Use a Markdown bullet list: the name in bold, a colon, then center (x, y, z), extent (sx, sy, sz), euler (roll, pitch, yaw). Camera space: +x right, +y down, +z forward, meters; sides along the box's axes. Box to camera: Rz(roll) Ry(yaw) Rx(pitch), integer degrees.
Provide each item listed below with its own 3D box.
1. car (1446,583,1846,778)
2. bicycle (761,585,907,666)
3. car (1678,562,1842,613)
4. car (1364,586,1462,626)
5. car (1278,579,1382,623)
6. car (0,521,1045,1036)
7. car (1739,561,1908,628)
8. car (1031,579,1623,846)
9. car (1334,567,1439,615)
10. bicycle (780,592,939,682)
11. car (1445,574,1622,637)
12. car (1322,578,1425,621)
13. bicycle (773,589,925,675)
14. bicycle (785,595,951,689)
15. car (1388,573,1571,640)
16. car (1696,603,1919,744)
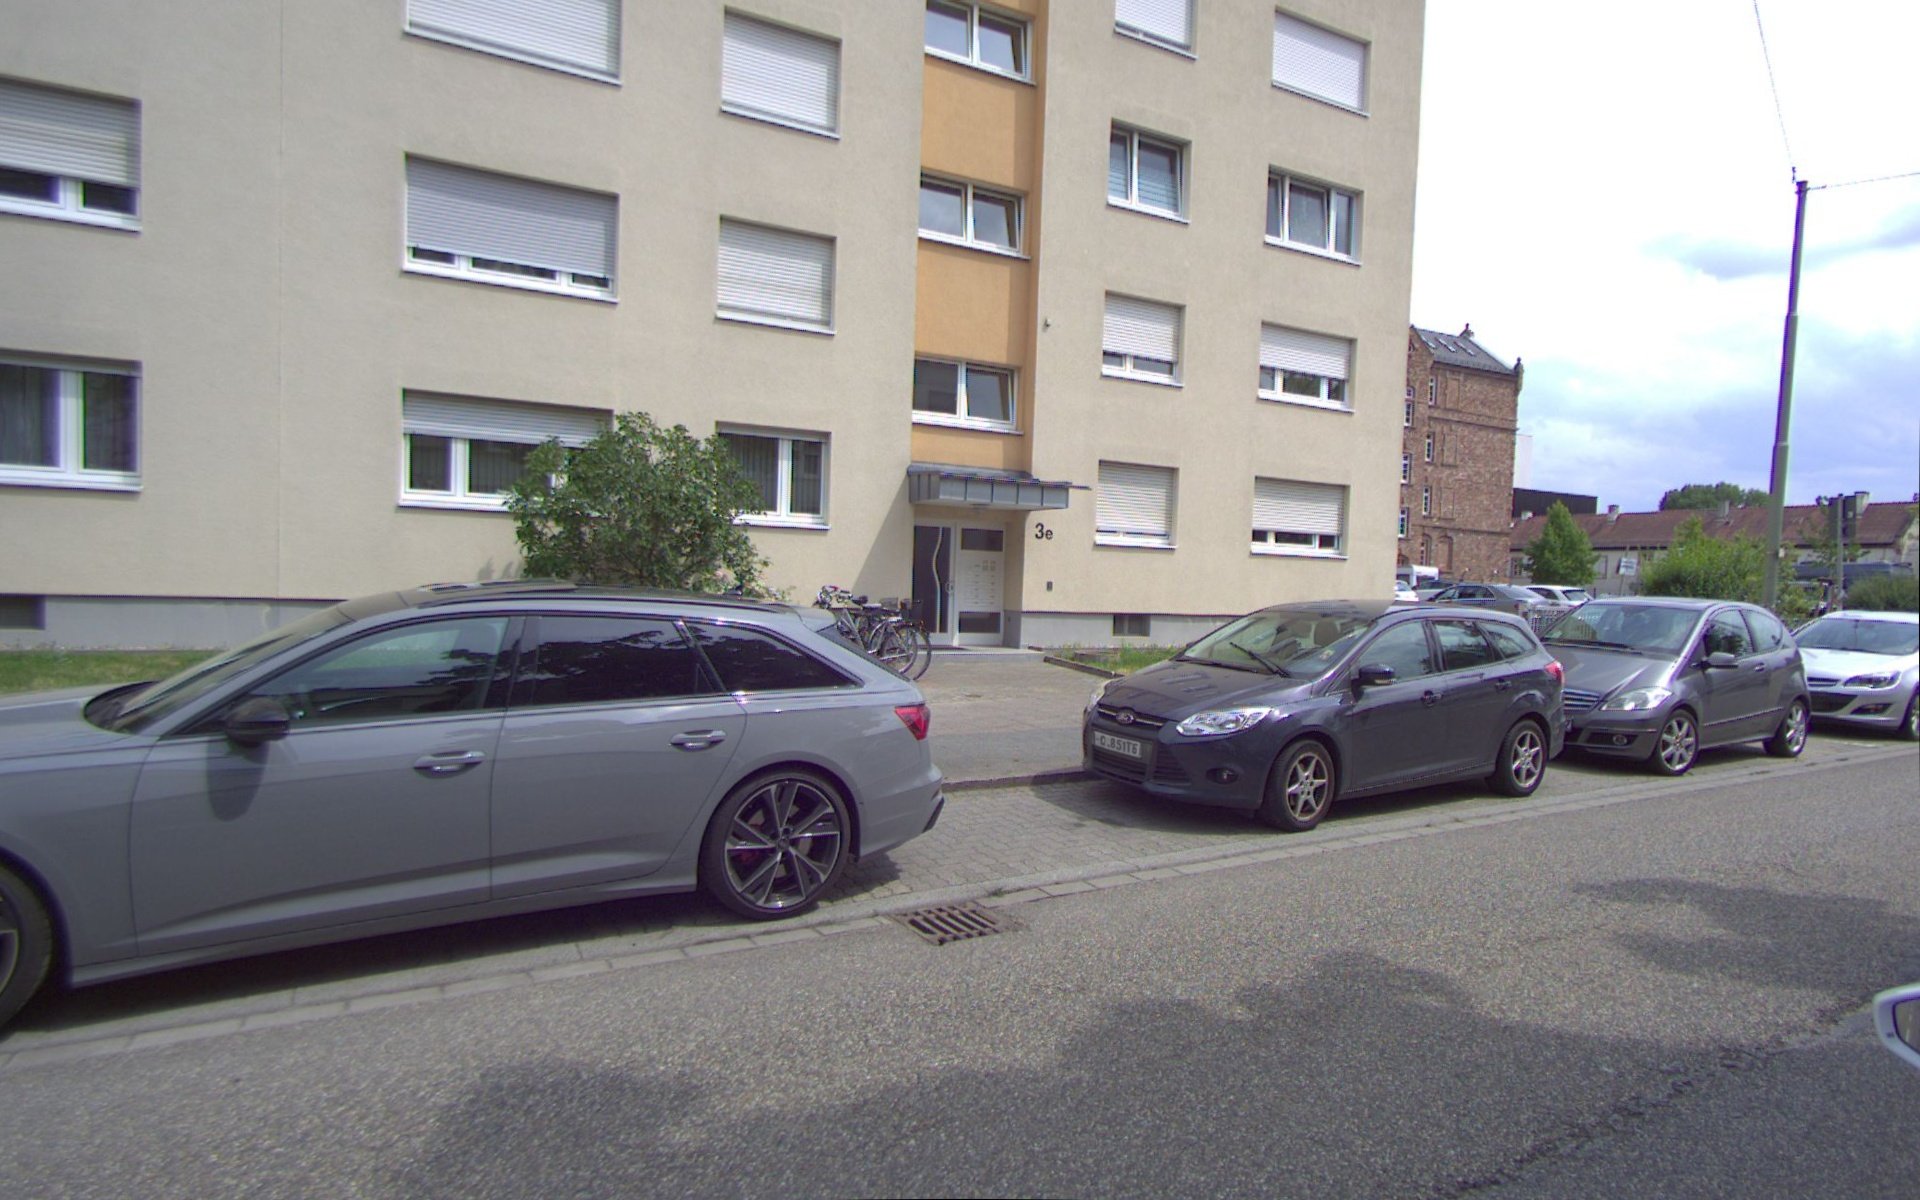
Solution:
- **car**: center (7.198, 0.715, 10.466), extent (4.106, 1.601, 1.875), euler (1, 2, -32)
- **bicycle**: center (-1.782, 0.350, 14.324), extent (2.035, 1.100, 0.460), euler (0, 2, -29)
- **car**: center (28.714, -0.478, 36.188), extent (1.975, 1.707, 4.154), euler (0, 2, -28)
- **car**: center (21.784, 0.266, 48.463), extent (1.911, 1.818, 3.973), euler (1, 0, -26)
- **car**: center (15.996, 0.019, 43.584), extent (1.974, 1.818, 3.973), euler (1, 0, -26)
- **car**: center (-2.265, 0.538, 4.629), extent (5.160, 1.601, 1.875), euler (1, 2, -32)
- **car**: center (32.393, -0.257, 37.827), extent (1.975, 2.380, 4.390), euler (0, 2, -28)
- **car**: center (3.006, 0.696, 7.873), extent (4.731, 1.516, 1.732), euler (1, 2, -31)
- **car**: center (25.453, -0.589, 60.124), extent (2.424, 2.658, 5.462), euler (1, 2, -26)
- **bicycle**: center (-1.292, 0.464, 13.128), extent (2.034, 1.100, 0.460), euler (0, 2, -28)
- **car**: center (16.933, 0.119, 29.858), extent (1.975, 1.707, 4.154), euler (0, 2, -28)
- **car**: center (18.385, -0.035, 44.832), extent (1.911, 1.818, 3.973), euler (1, 0, -26)
- **bicycle**: center (-1.498, 0.421, 13.709), extent (2.034, 1.100, 0.460), euler (0, 2, -28)
- **bicycle**: center (-1.125, 0.505, 12.539), extent (2.034, 1.100, 0.460), euler (0, 2, -28)
- **car**: center (14.429, 0.113, 28.128), extent (1.975, 1.707, 4.154), euler (0, 2, -28)
- **car**: center (12.020, 0.884, 13.280), extent (4.576, 1.508, 1.878), euler (1, 2, -29)
